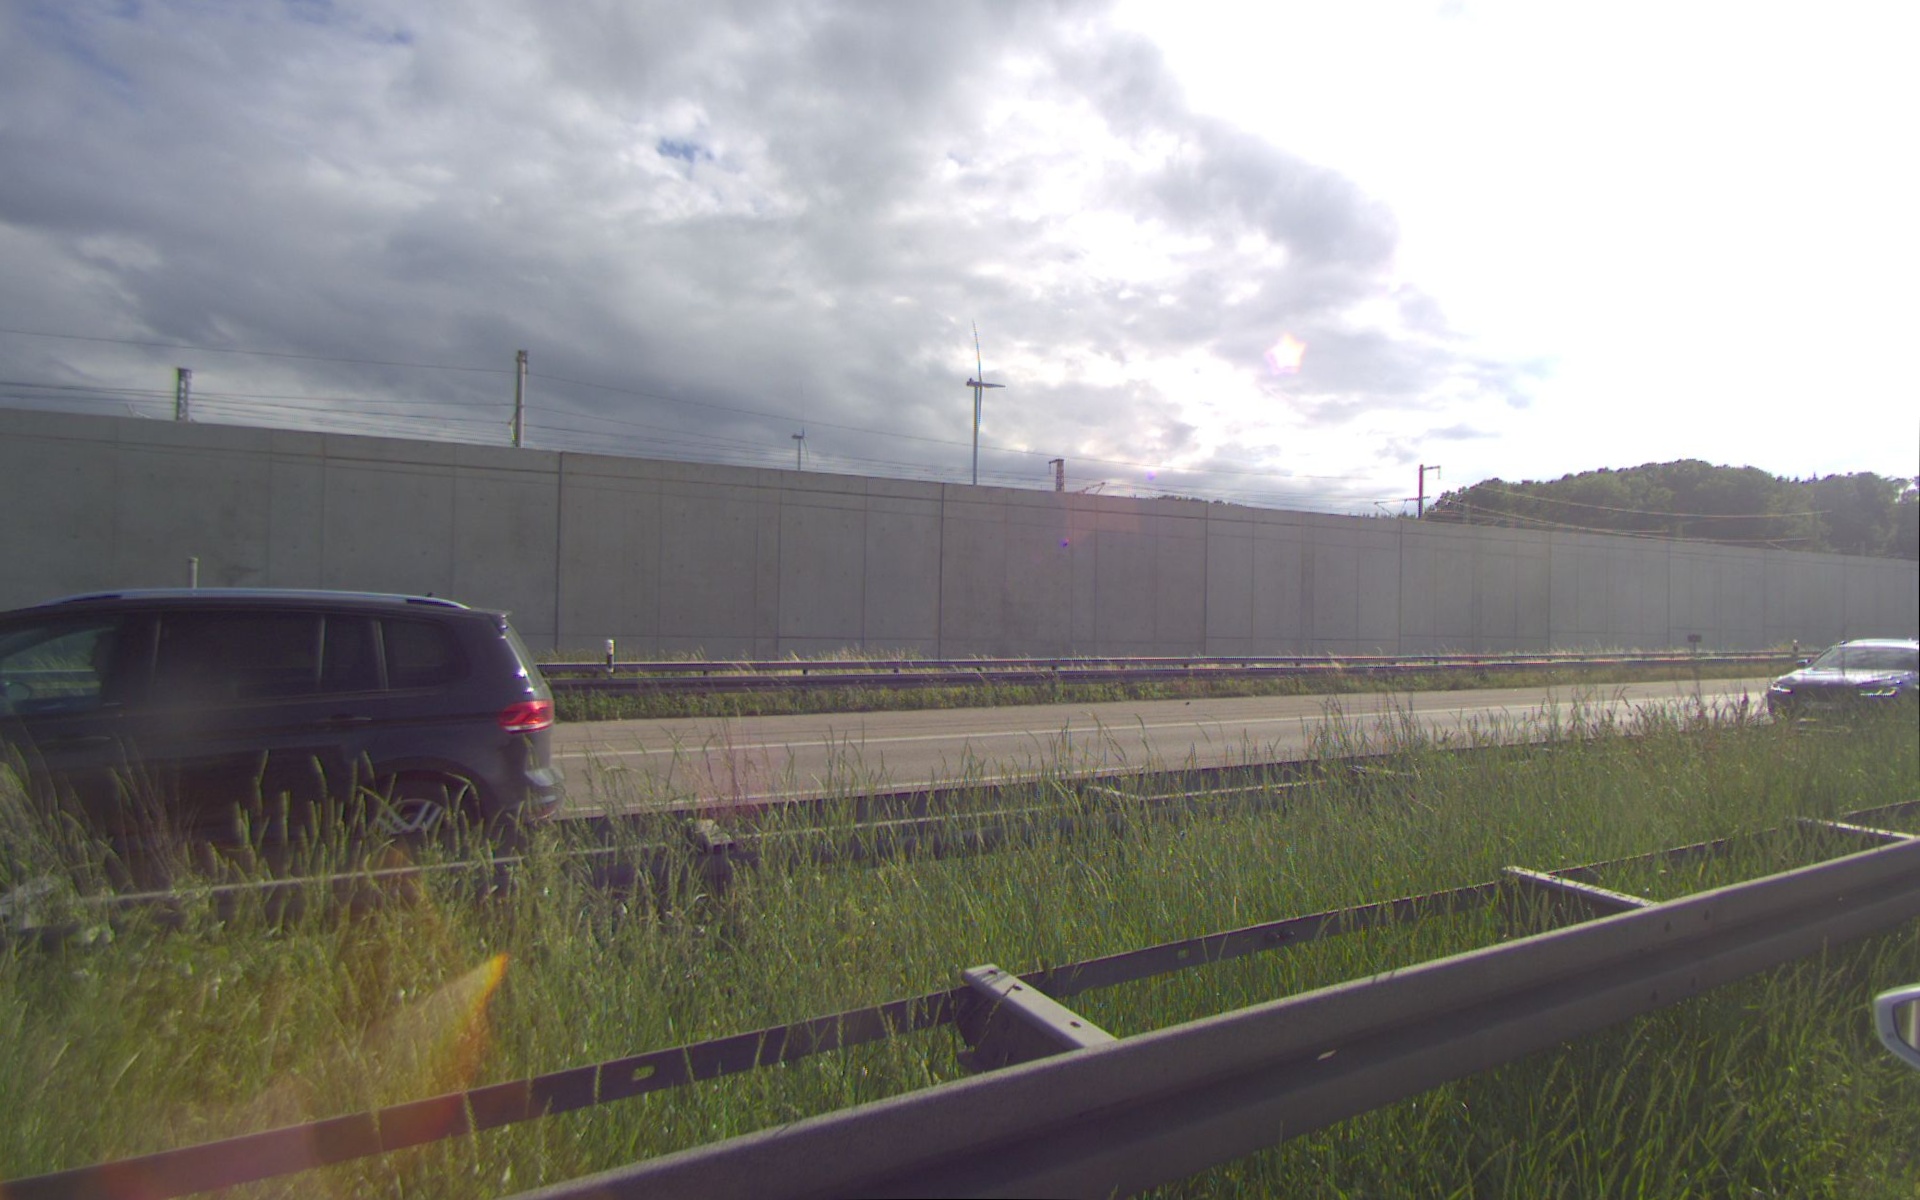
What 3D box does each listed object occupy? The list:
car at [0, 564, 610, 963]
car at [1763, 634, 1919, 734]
[{"bbox_3d":[-4.200,0.742,5.483,4.054,1.760,1.772,2,-1,-30],"label":"car"},{"bbox_3d":[16.083,1.403,17.618,4.376,1.519,1.689,2,-1,-31],"label":"car"}]
